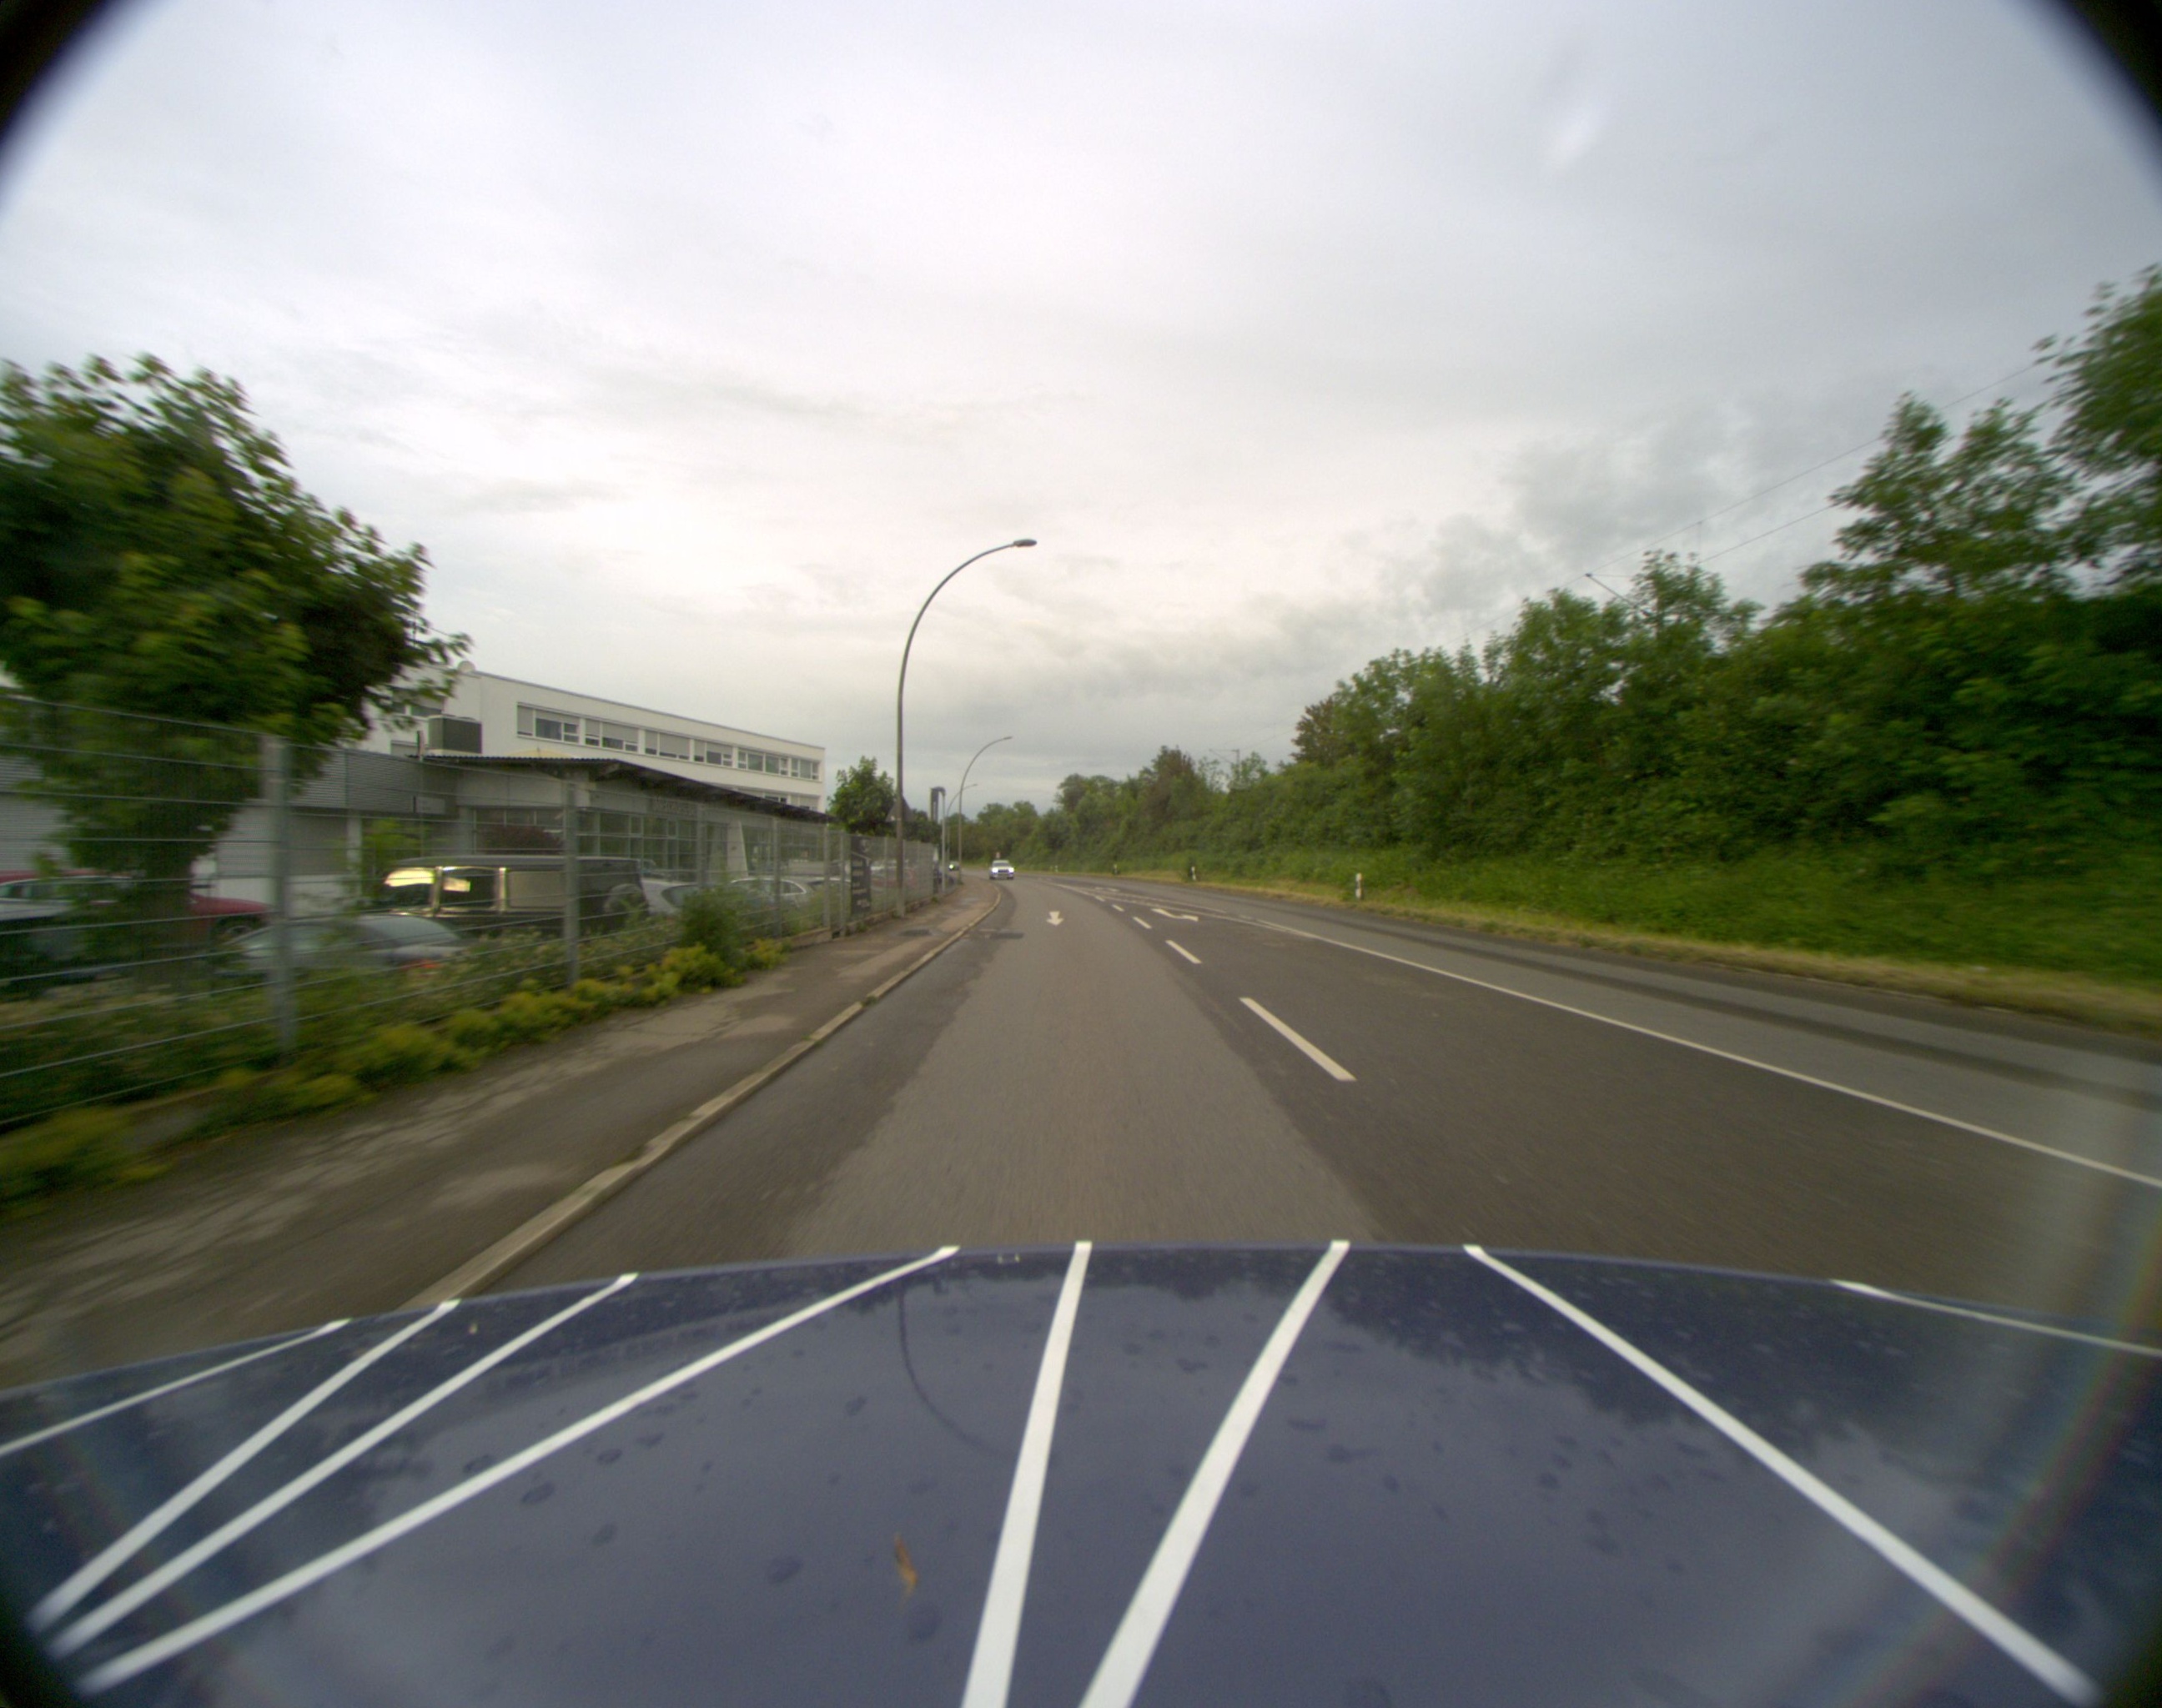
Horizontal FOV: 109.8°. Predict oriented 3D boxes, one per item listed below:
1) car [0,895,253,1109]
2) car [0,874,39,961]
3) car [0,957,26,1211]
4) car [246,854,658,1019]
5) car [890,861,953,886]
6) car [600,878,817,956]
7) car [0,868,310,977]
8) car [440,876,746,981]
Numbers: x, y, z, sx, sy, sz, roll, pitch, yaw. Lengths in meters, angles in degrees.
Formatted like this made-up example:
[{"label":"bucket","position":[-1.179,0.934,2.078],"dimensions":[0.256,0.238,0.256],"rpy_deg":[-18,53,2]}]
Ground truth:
[{"label":"car","position":[-9.653,1.189,6.023],"dimensions":[3.996,1.401,2.000],"rpy_deg":[-3,1,3]},{"label":"car","position":[-19.214,1.157,11.206],"dimensions":[1.996,1.412,4.003],"rpy_deg":[-3,1,15]},{"label":"car","position":[-8.375,1.479,3.704],"dimensions":[3.913,1.500,1.679],"rpy_deg":[-3,2,-1]},{"label":"car","position":[-8.586,1.065,10.685],"dimensions":[4.146,1.883,1.773],"rpy_deg":[-3,2,-1]},{"label":"car","position":[-11.296,1.407,53.925],"dimensions":[3.990,1.547,1.902],"rpy_deg":[-2,2,27]},{"label":"car","position":[-8.527,1.418,17.703],"dimensions":[3.997,1.396,1.999],"rpy_deg":[-3,1,-1]},{"label":"car","position":[-16.334,1.076,12.907],"dimensions":[1.996,1.412,4.003],"rpy_deg":[-2,1,15]},{"label":"car","position":[-8.107,1.212,12.877],"dimensions":[3.996,1.396,1.789],"rpy_deg":[-3,2,3]}]
